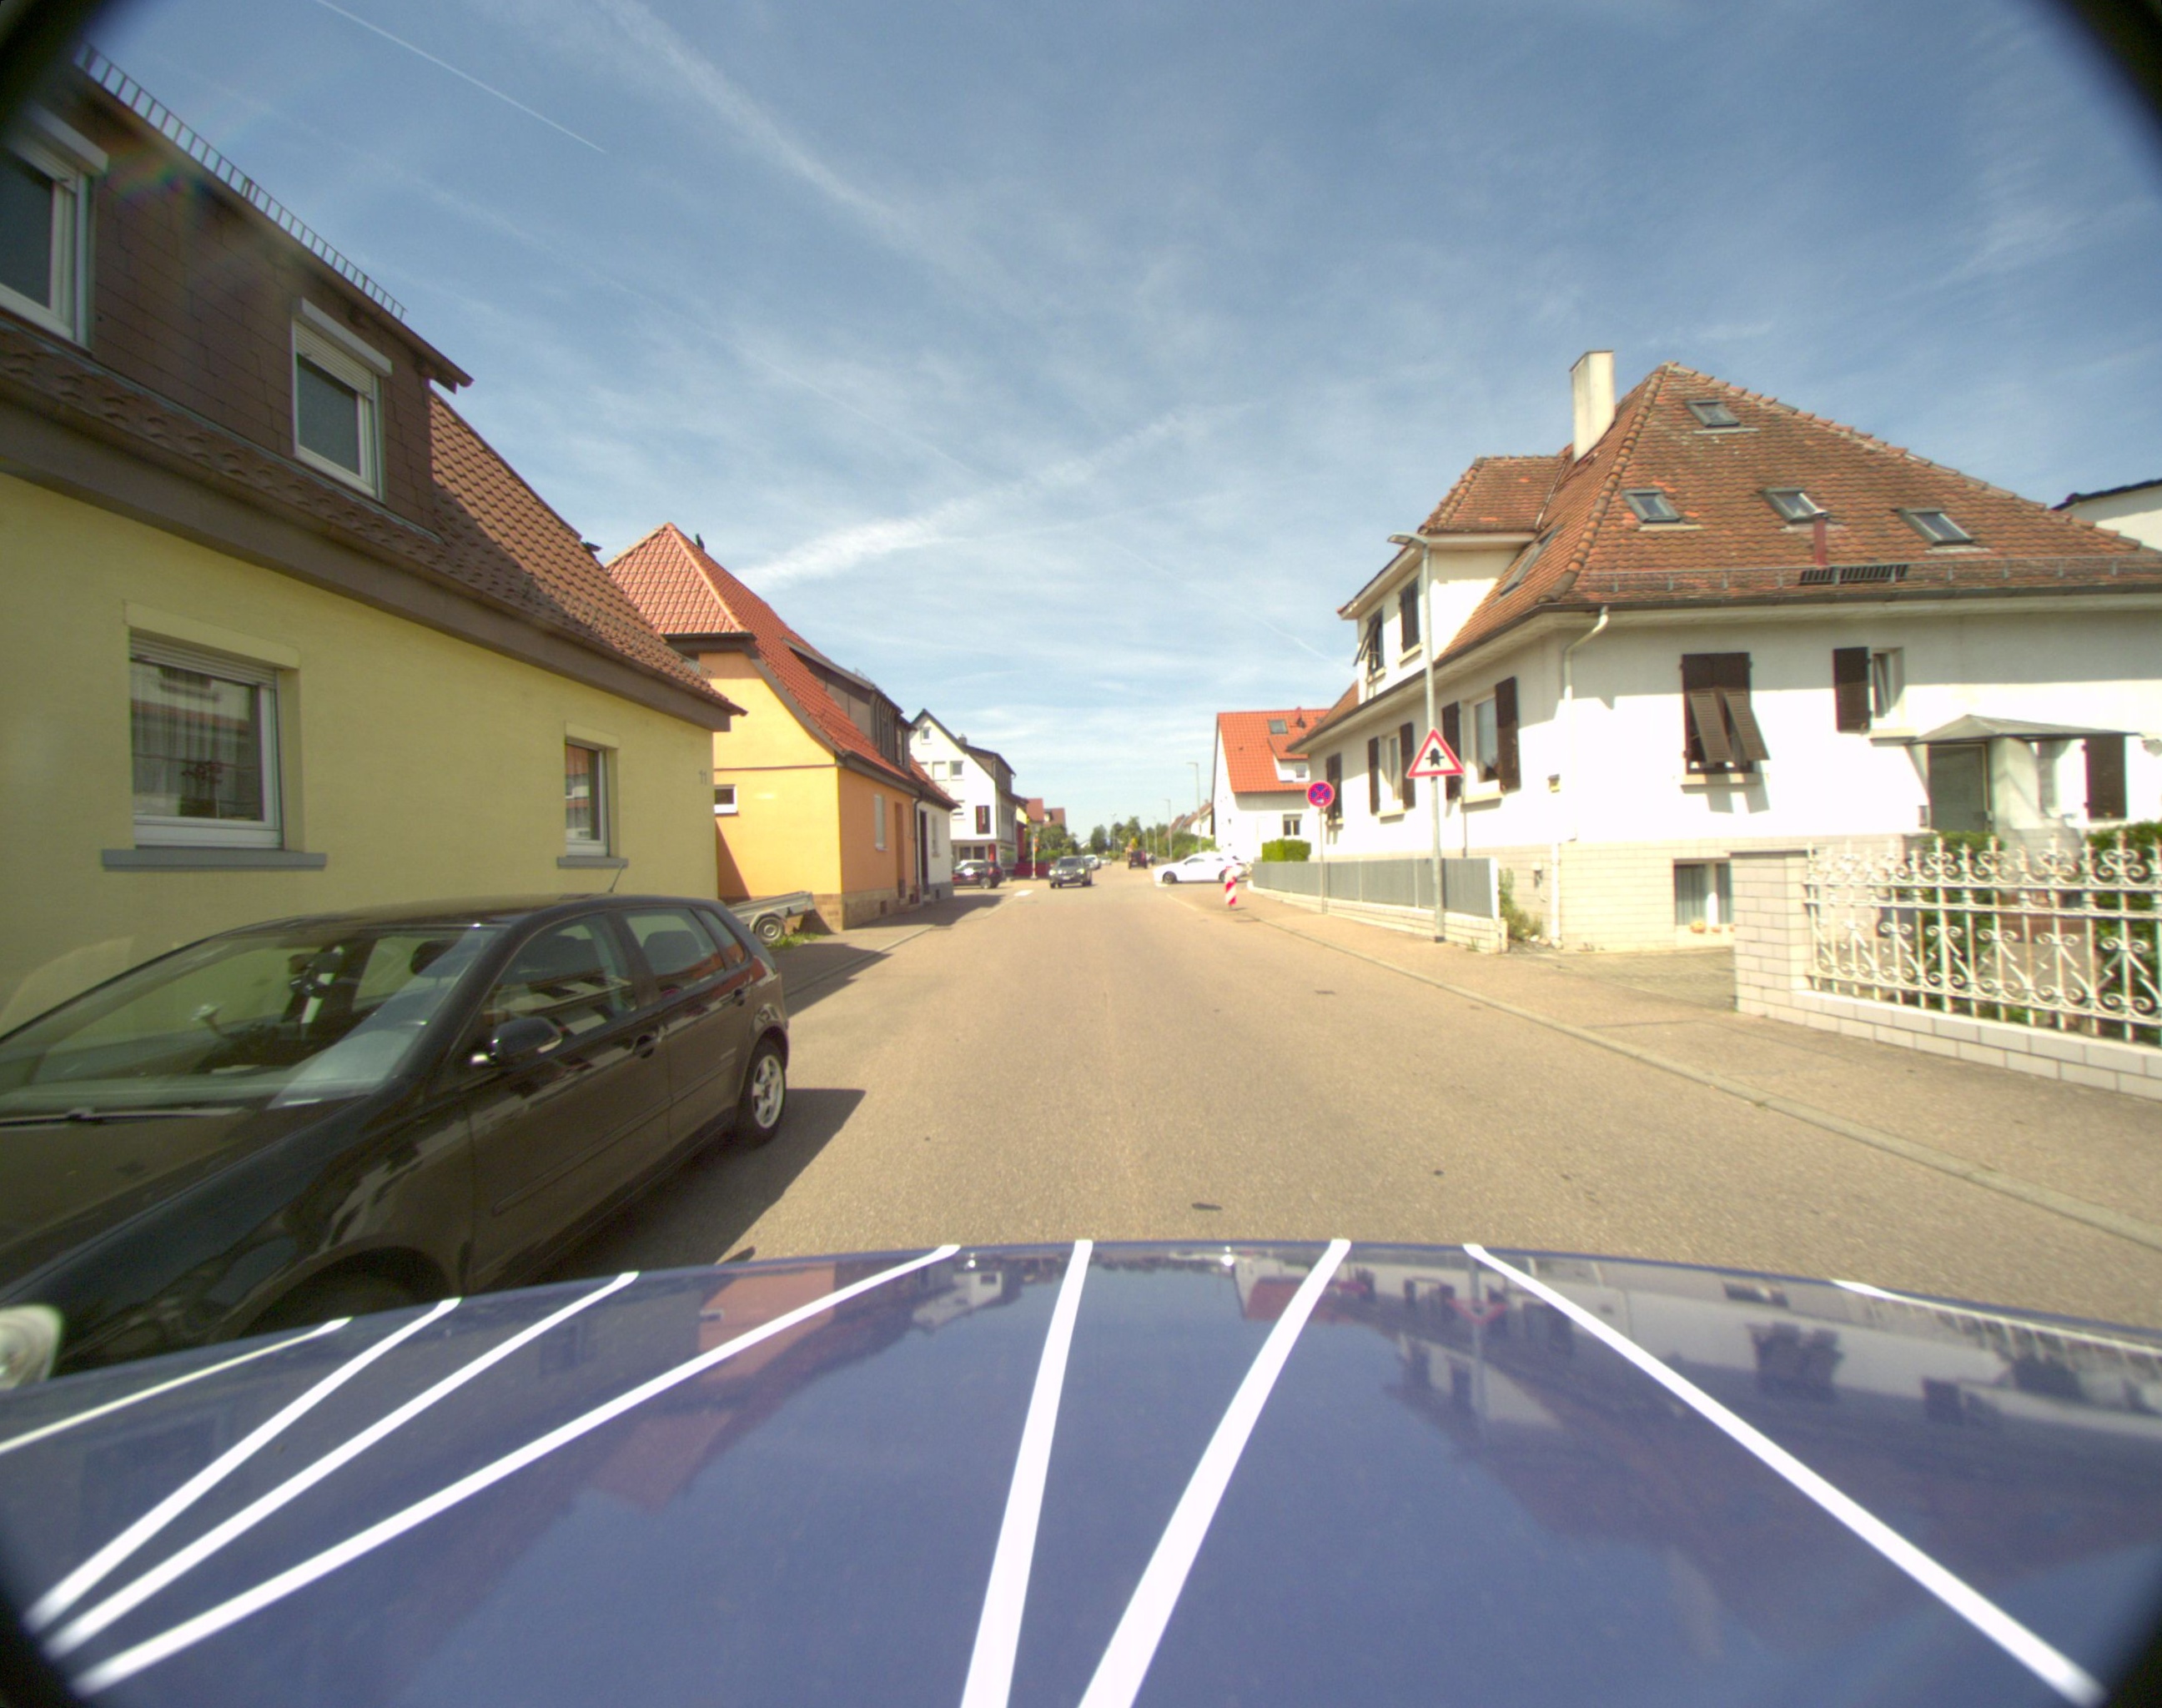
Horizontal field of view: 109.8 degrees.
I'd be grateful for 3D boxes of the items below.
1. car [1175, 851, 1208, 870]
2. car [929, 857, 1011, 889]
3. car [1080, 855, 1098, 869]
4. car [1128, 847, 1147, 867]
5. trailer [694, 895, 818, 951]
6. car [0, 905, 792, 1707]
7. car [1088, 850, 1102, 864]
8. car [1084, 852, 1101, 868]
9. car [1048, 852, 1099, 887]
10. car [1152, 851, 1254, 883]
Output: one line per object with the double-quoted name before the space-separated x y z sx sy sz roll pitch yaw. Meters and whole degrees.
"car" 9.252 0.483 63.239 1.829 1.423 4.569 -2 0 19
"car" -6.439 1.106 44.377 4.301 1.643 1.849 -3 0 8
"car" 0.931 0.867 84.864 1.755 1.412 4.422 -2 0 4
"car" 6.104 0.309 82.203 1.972 1.940 4.697 -2 0 4
"trailer" -6.552 1.351 15.325 2.145 0.894 1.240 -2 0 -30
"car" -2.542 1.053 2.642 1.615 1.422 3.753 -3 0 -1
"car" 1.956 0.420 103.182 1.669 1.739 4.056 -2 0 3
"car" 1.413 0.701 91.247 1.740 1.652 4.338 -4 0 3
"car" -0.307 0.750 39.074 1.837 1.637 4.326 -3 0 9
"car" 5.918 0.626 36.806 4.484 1.390 1.932 -2 0 22
